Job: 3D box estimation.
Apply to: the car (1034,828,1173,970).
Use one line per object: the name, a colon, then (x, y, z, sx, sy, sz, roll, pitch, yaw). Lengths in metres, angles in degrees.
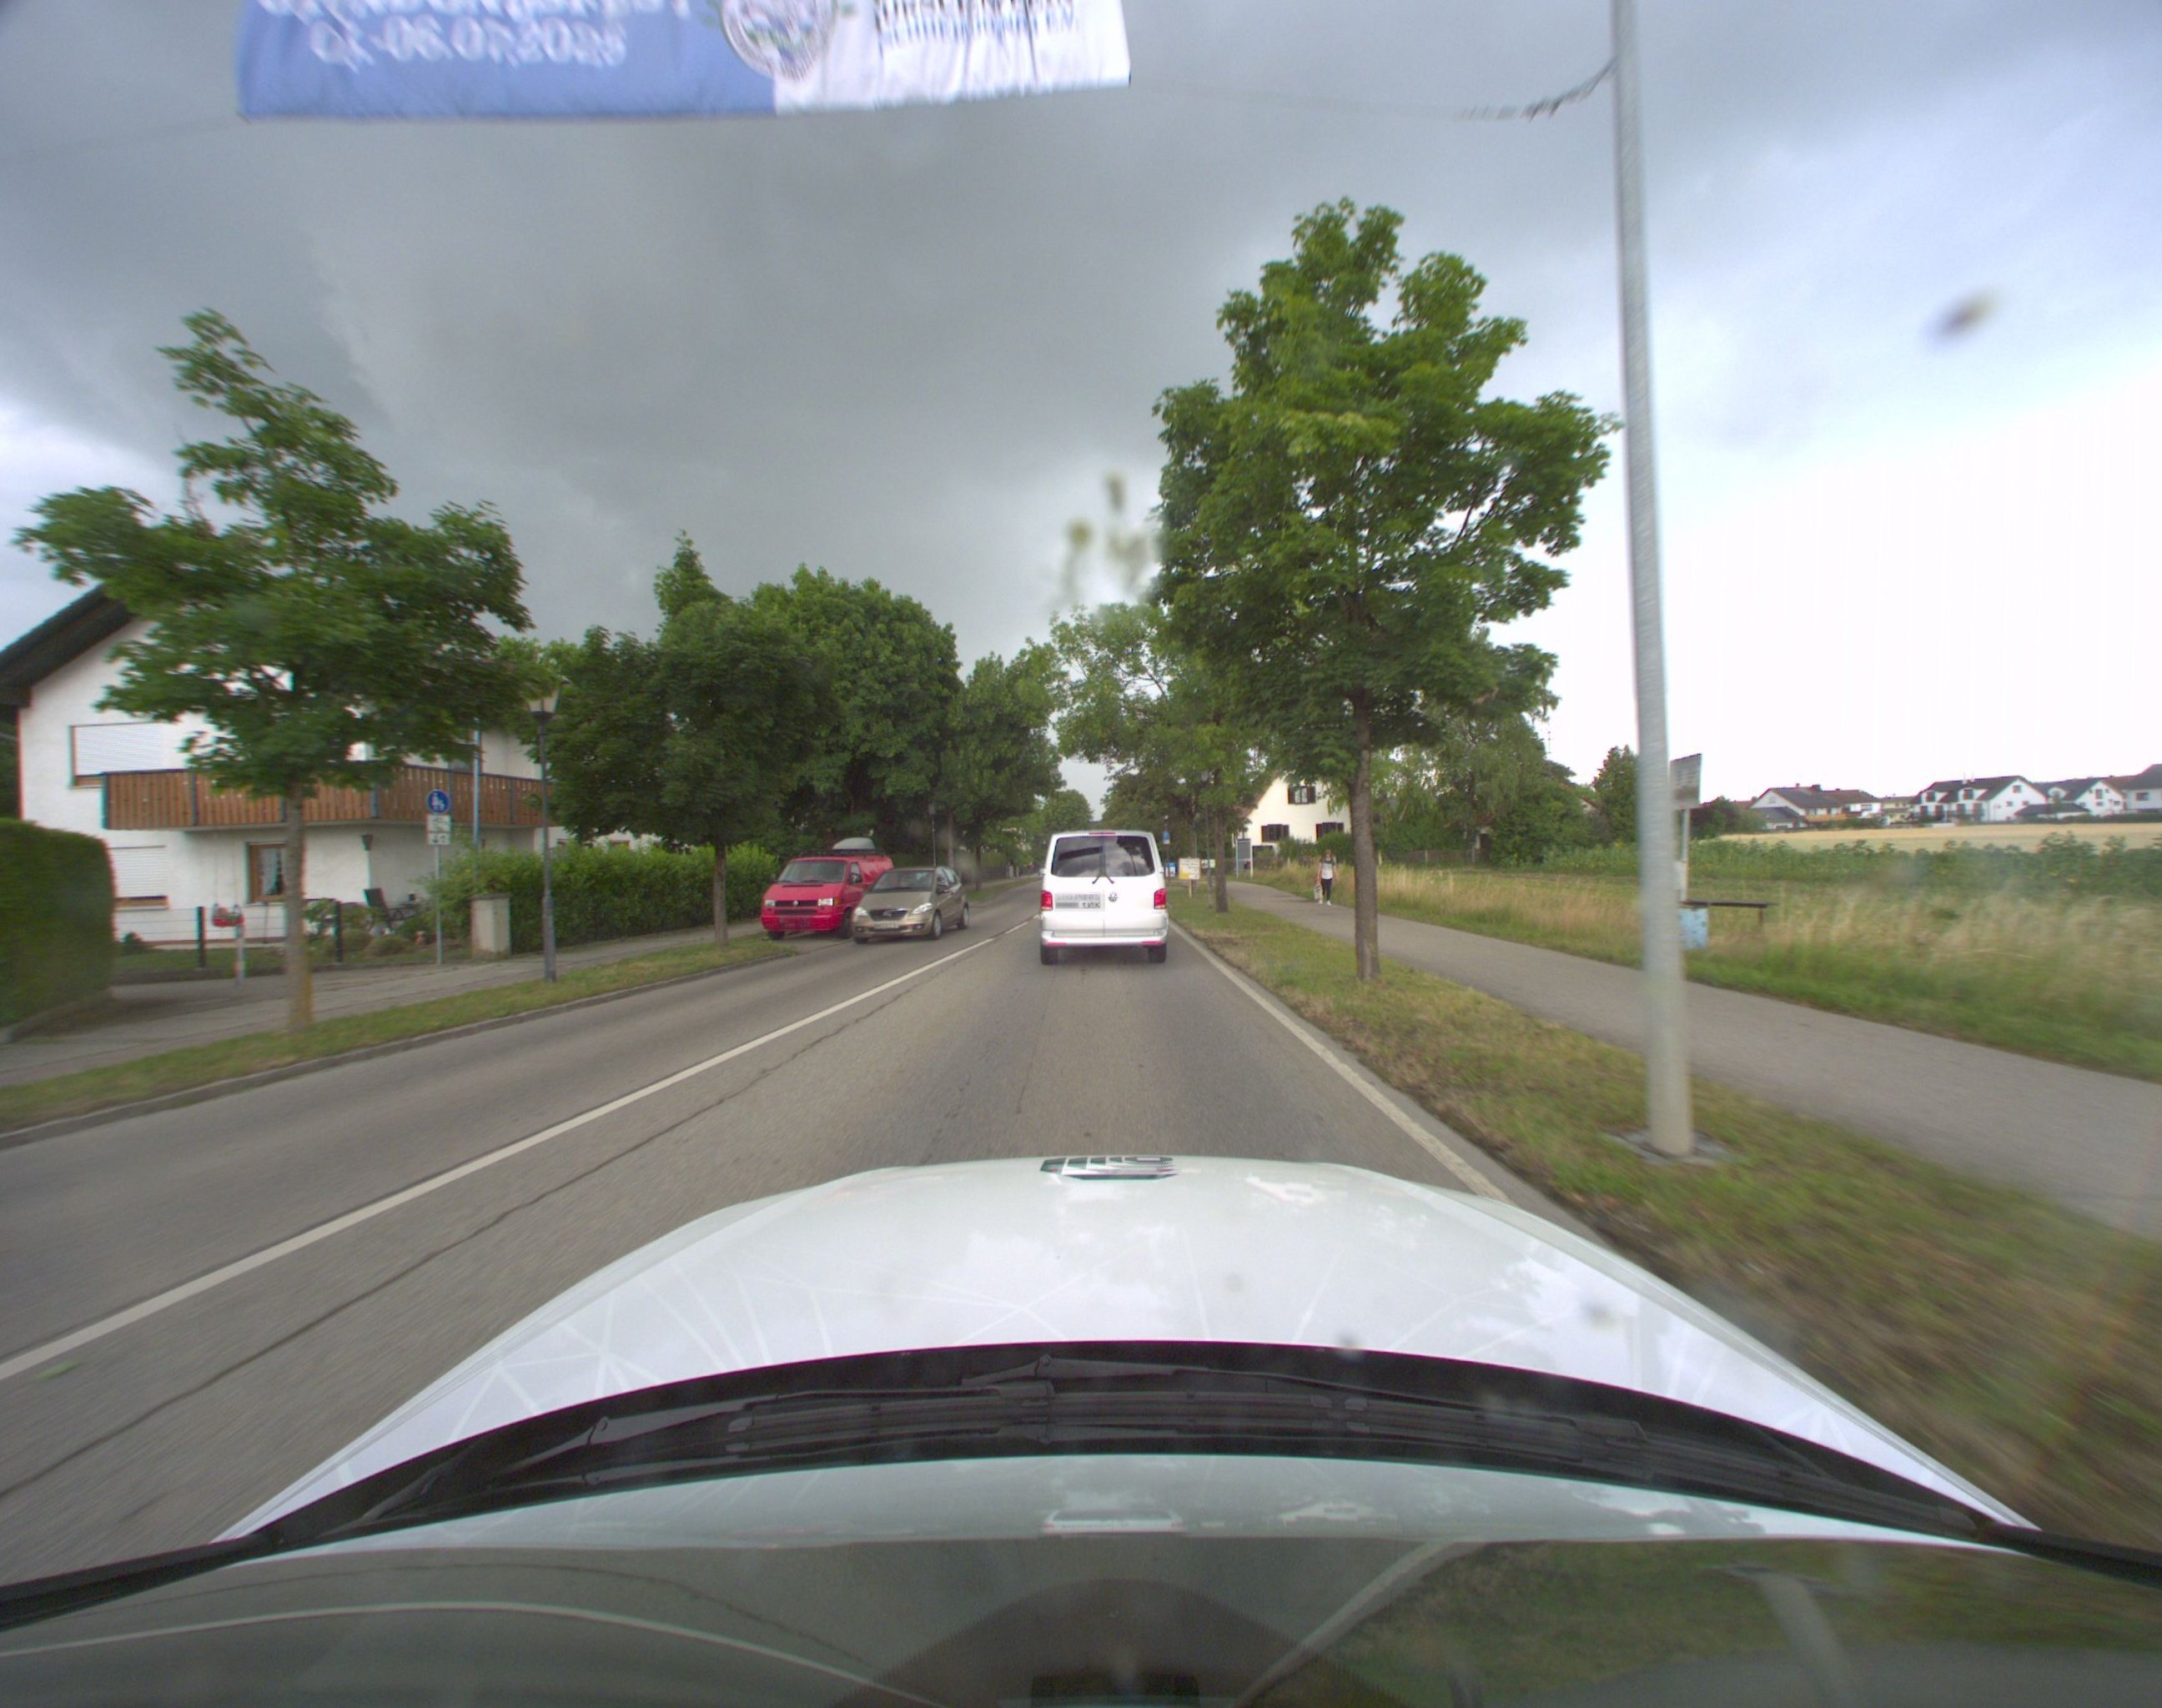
car: (0.374, 0.640, 13.188, 1.881, 1.912, 4.001, -1, -1, 2)

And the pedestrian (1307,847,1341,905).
pedestrian: (7.520, 0.676, 25.202, 0.833, 1.755, 0.871, -1, -1, 7)

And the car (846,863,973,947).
car: (-3.696, 1.051, 18.164, 1.699, 1.532, 3.513, -4, 0, 5)

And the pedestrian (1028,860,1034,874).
pedestrian: (-5.439, 1.408, 89.048, 0.620, 1.549, 0.522, 0, -1, -2)

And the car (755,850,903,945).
car: (-5.990, 0.934, 20.070, 1.822, 2.030, 5.050, 0, 0, 3)
